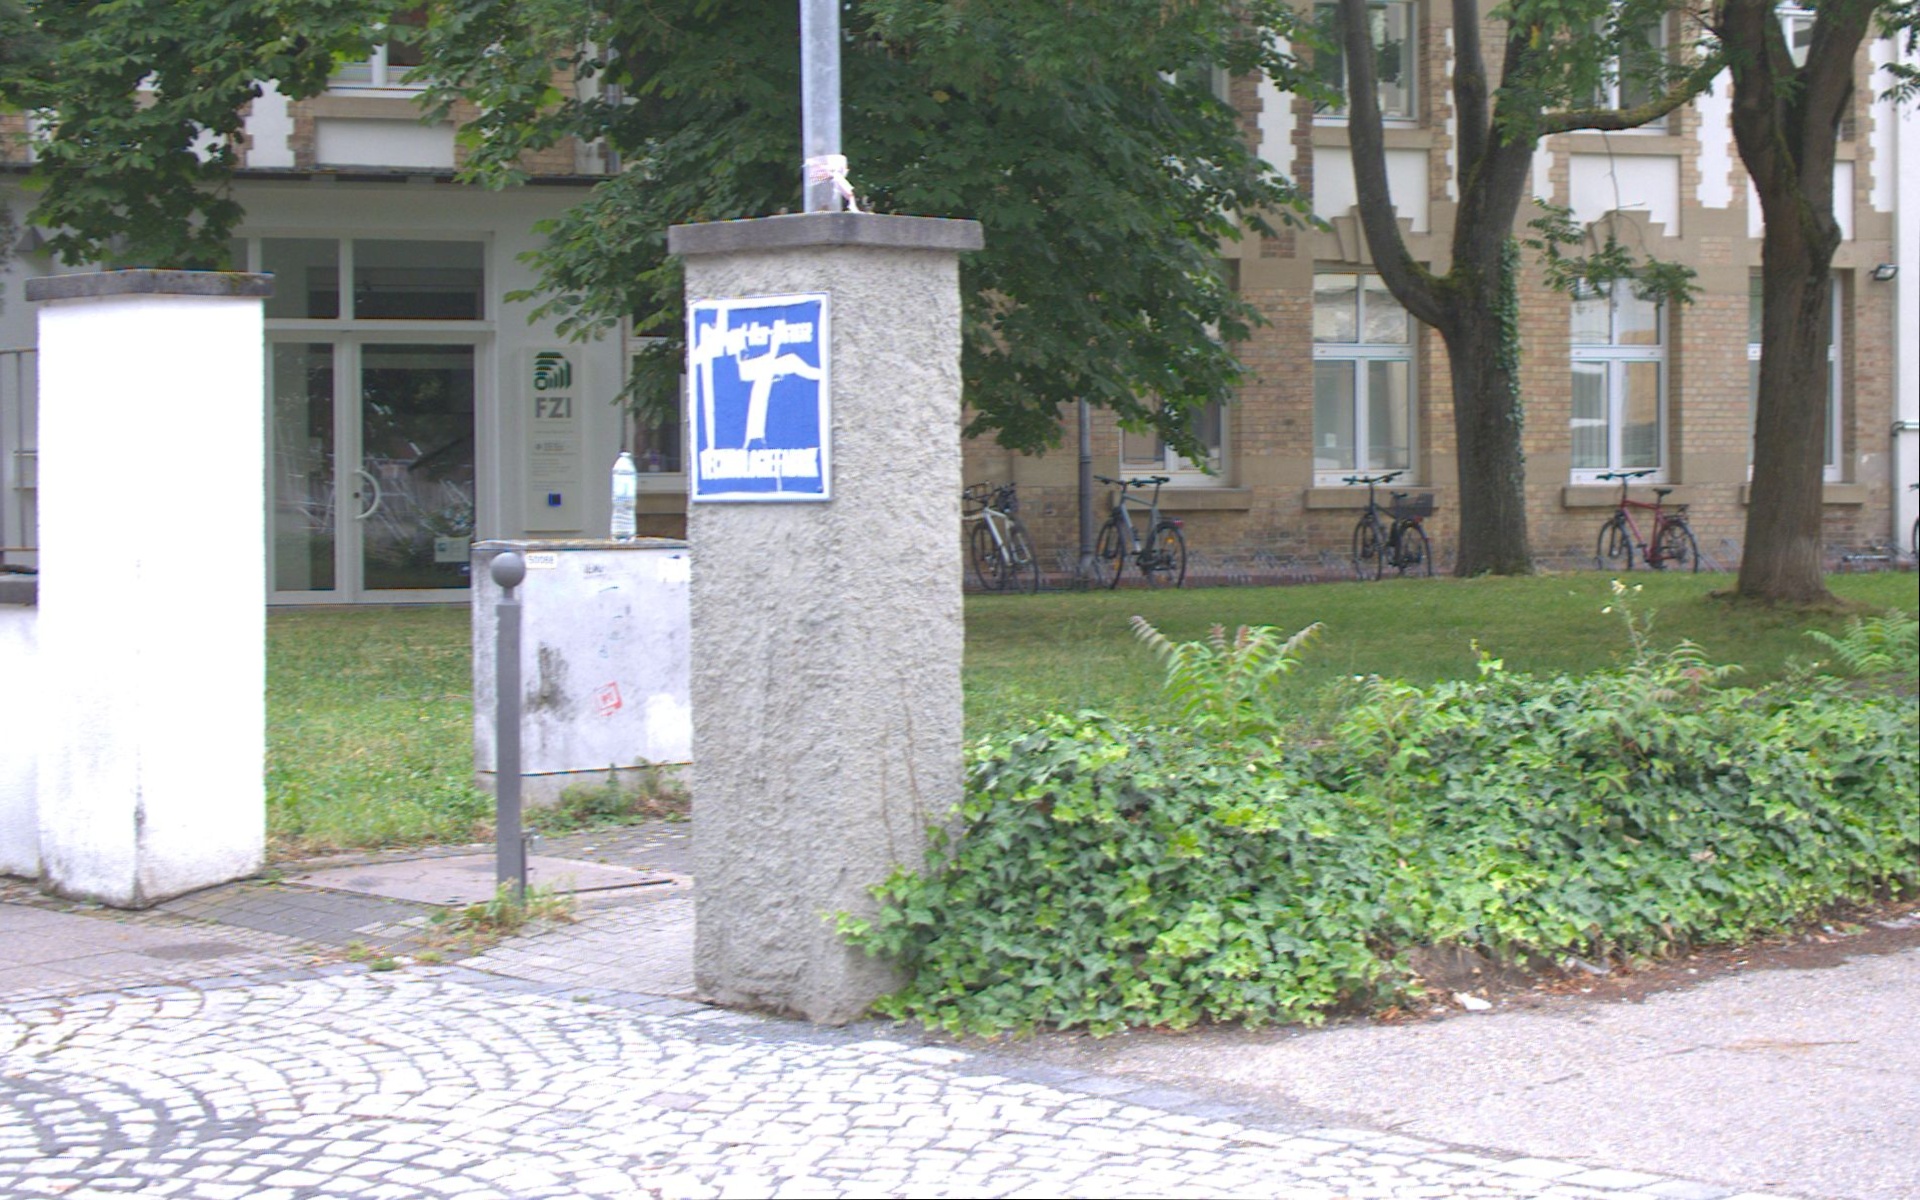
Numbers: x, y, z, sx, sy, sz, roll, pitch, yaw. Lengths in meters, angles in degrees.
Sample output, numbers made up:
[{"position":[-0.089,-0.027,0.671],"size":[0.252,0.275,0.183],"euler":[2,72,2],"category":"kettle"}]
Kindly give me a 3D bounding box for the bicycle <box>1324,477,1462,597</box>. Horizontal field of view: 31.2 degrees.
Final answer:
[{"position":[4.194,-0.630,33.451],"size":[0.617,1.115,2.222],"euler":[-1,2,-12],"category":"bicycle"}]

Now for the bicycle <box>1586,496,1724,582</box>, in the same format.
[{"position":[6.932,-0.622,34.368],"size":[0.617,0.811,1.945],"euler":[-1,2,-12],"category":"bicycle"}]

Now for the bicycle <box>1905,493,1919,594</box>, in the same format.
[{"position":[10.488,-0.571,35.515],"size":[0.394,1.061,1.829],"euler":[-1,2,-21],"category":"bicycle"}]

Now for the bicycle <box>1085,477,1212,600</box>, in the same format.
[{"position":[1.766,-0.605,32.558],"size":[0.617,1.115,2.222],"euler":[-1,2,-12],"category":"bicycle"}]

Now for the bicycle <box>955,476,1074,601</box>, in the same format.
[{"position":[0.494,-0.594,32.223],"size":[0.617,1.115,2.222],"euler":[-1,2,-12],"category":"bicycle"}]
